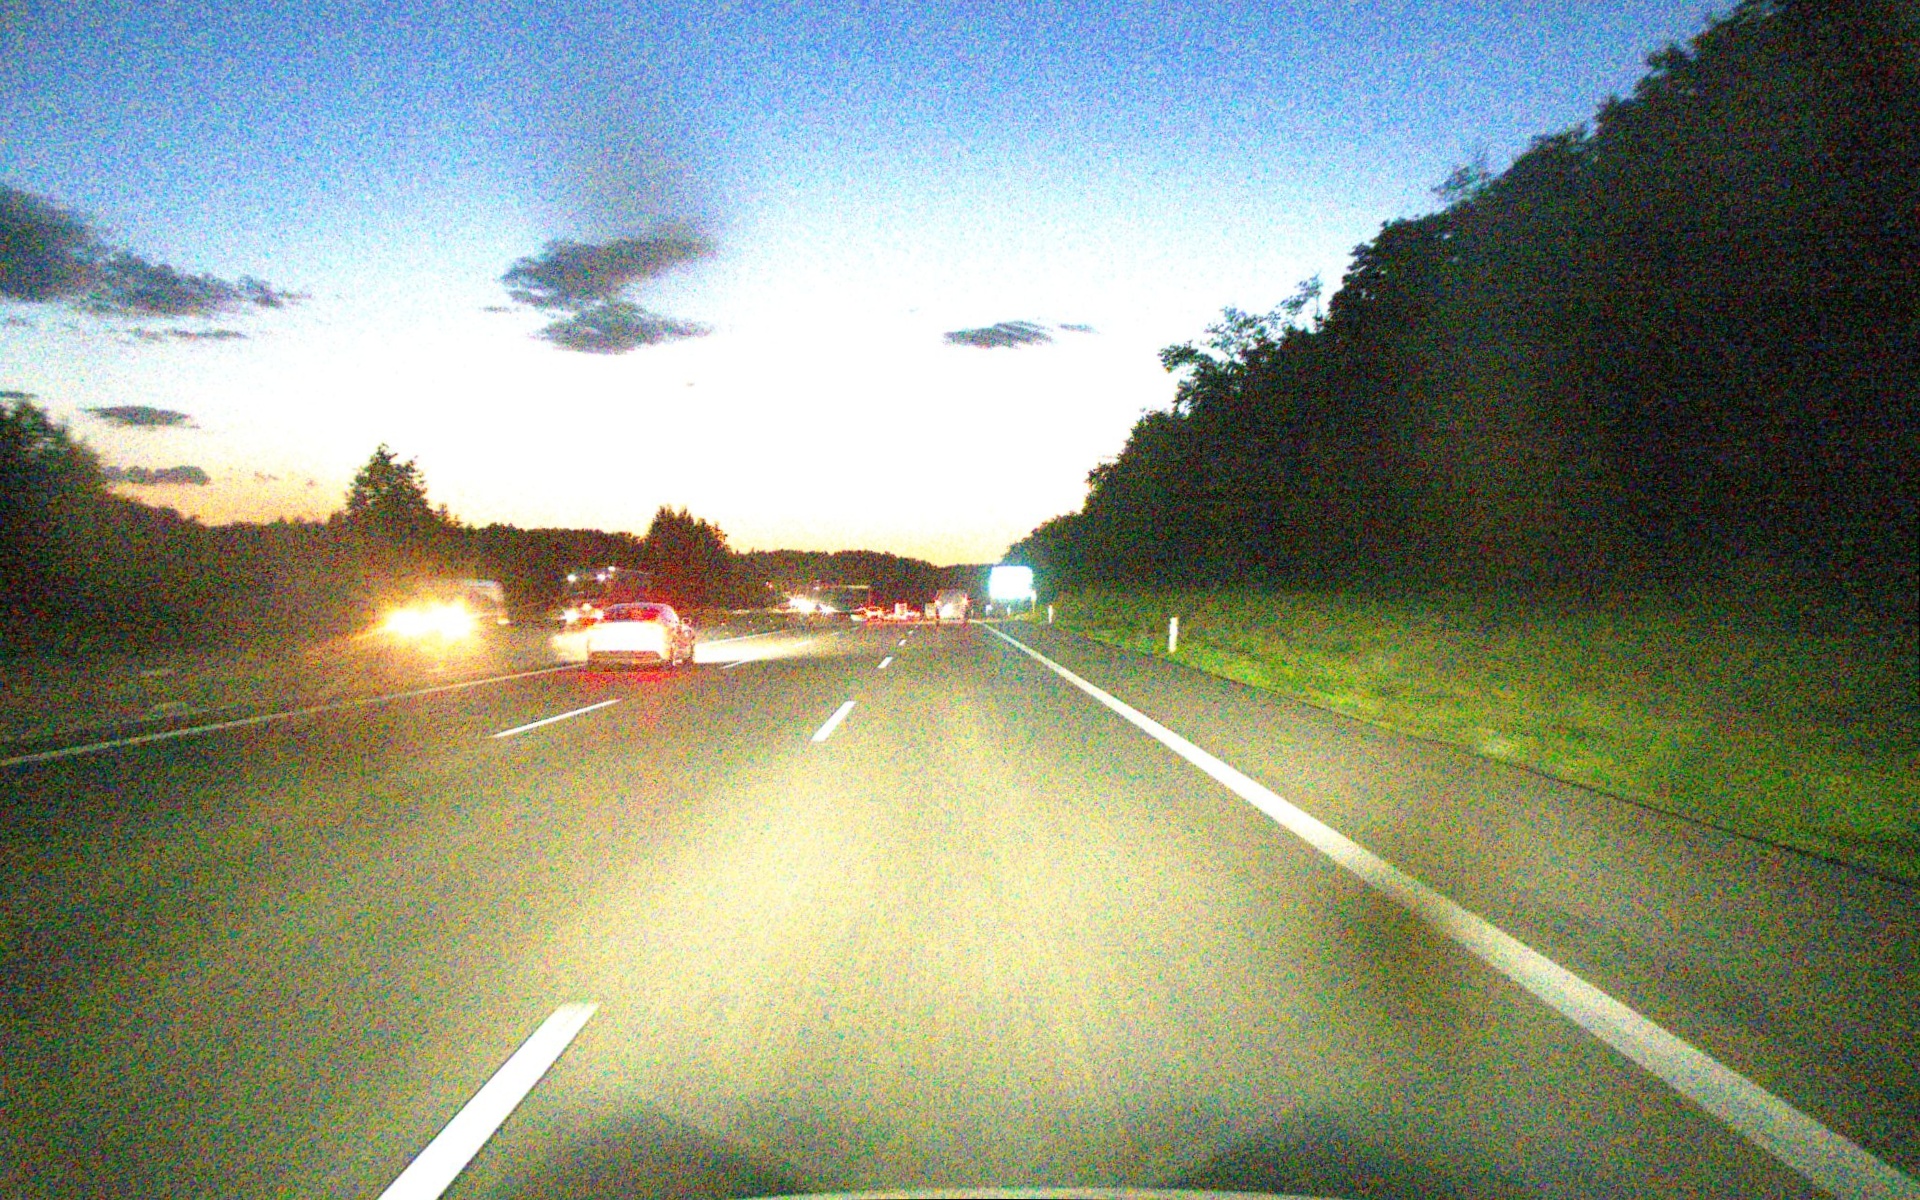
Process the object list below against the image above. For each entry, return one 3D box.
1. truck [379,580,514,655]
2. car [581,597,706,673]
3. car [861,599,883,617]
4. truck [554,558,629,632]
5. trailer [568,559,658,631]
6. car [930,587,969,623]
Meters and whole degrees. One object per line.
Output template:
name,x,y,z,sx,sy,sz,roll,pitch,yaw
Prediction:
truck,-19.542,0.614,63.481,2.814,2.688,7.884,0,0,-1
car,-6.817,0.704,36.178,1.743,1.513,5.253,1,0,-1
car,-9.615,0.861,181.288,2.152,1.989,4.633,1,0,-1
truck,-23.264,-0.316,104.798,3.257,4.511,6.706,-1,0,-1
trailer,-23.343,-0.315,112.244,3.257,4.511,14.021,-1,0,-1
car,-0.639,0.306,98.310,2.152,1.989,4.762,-3,0,-1
